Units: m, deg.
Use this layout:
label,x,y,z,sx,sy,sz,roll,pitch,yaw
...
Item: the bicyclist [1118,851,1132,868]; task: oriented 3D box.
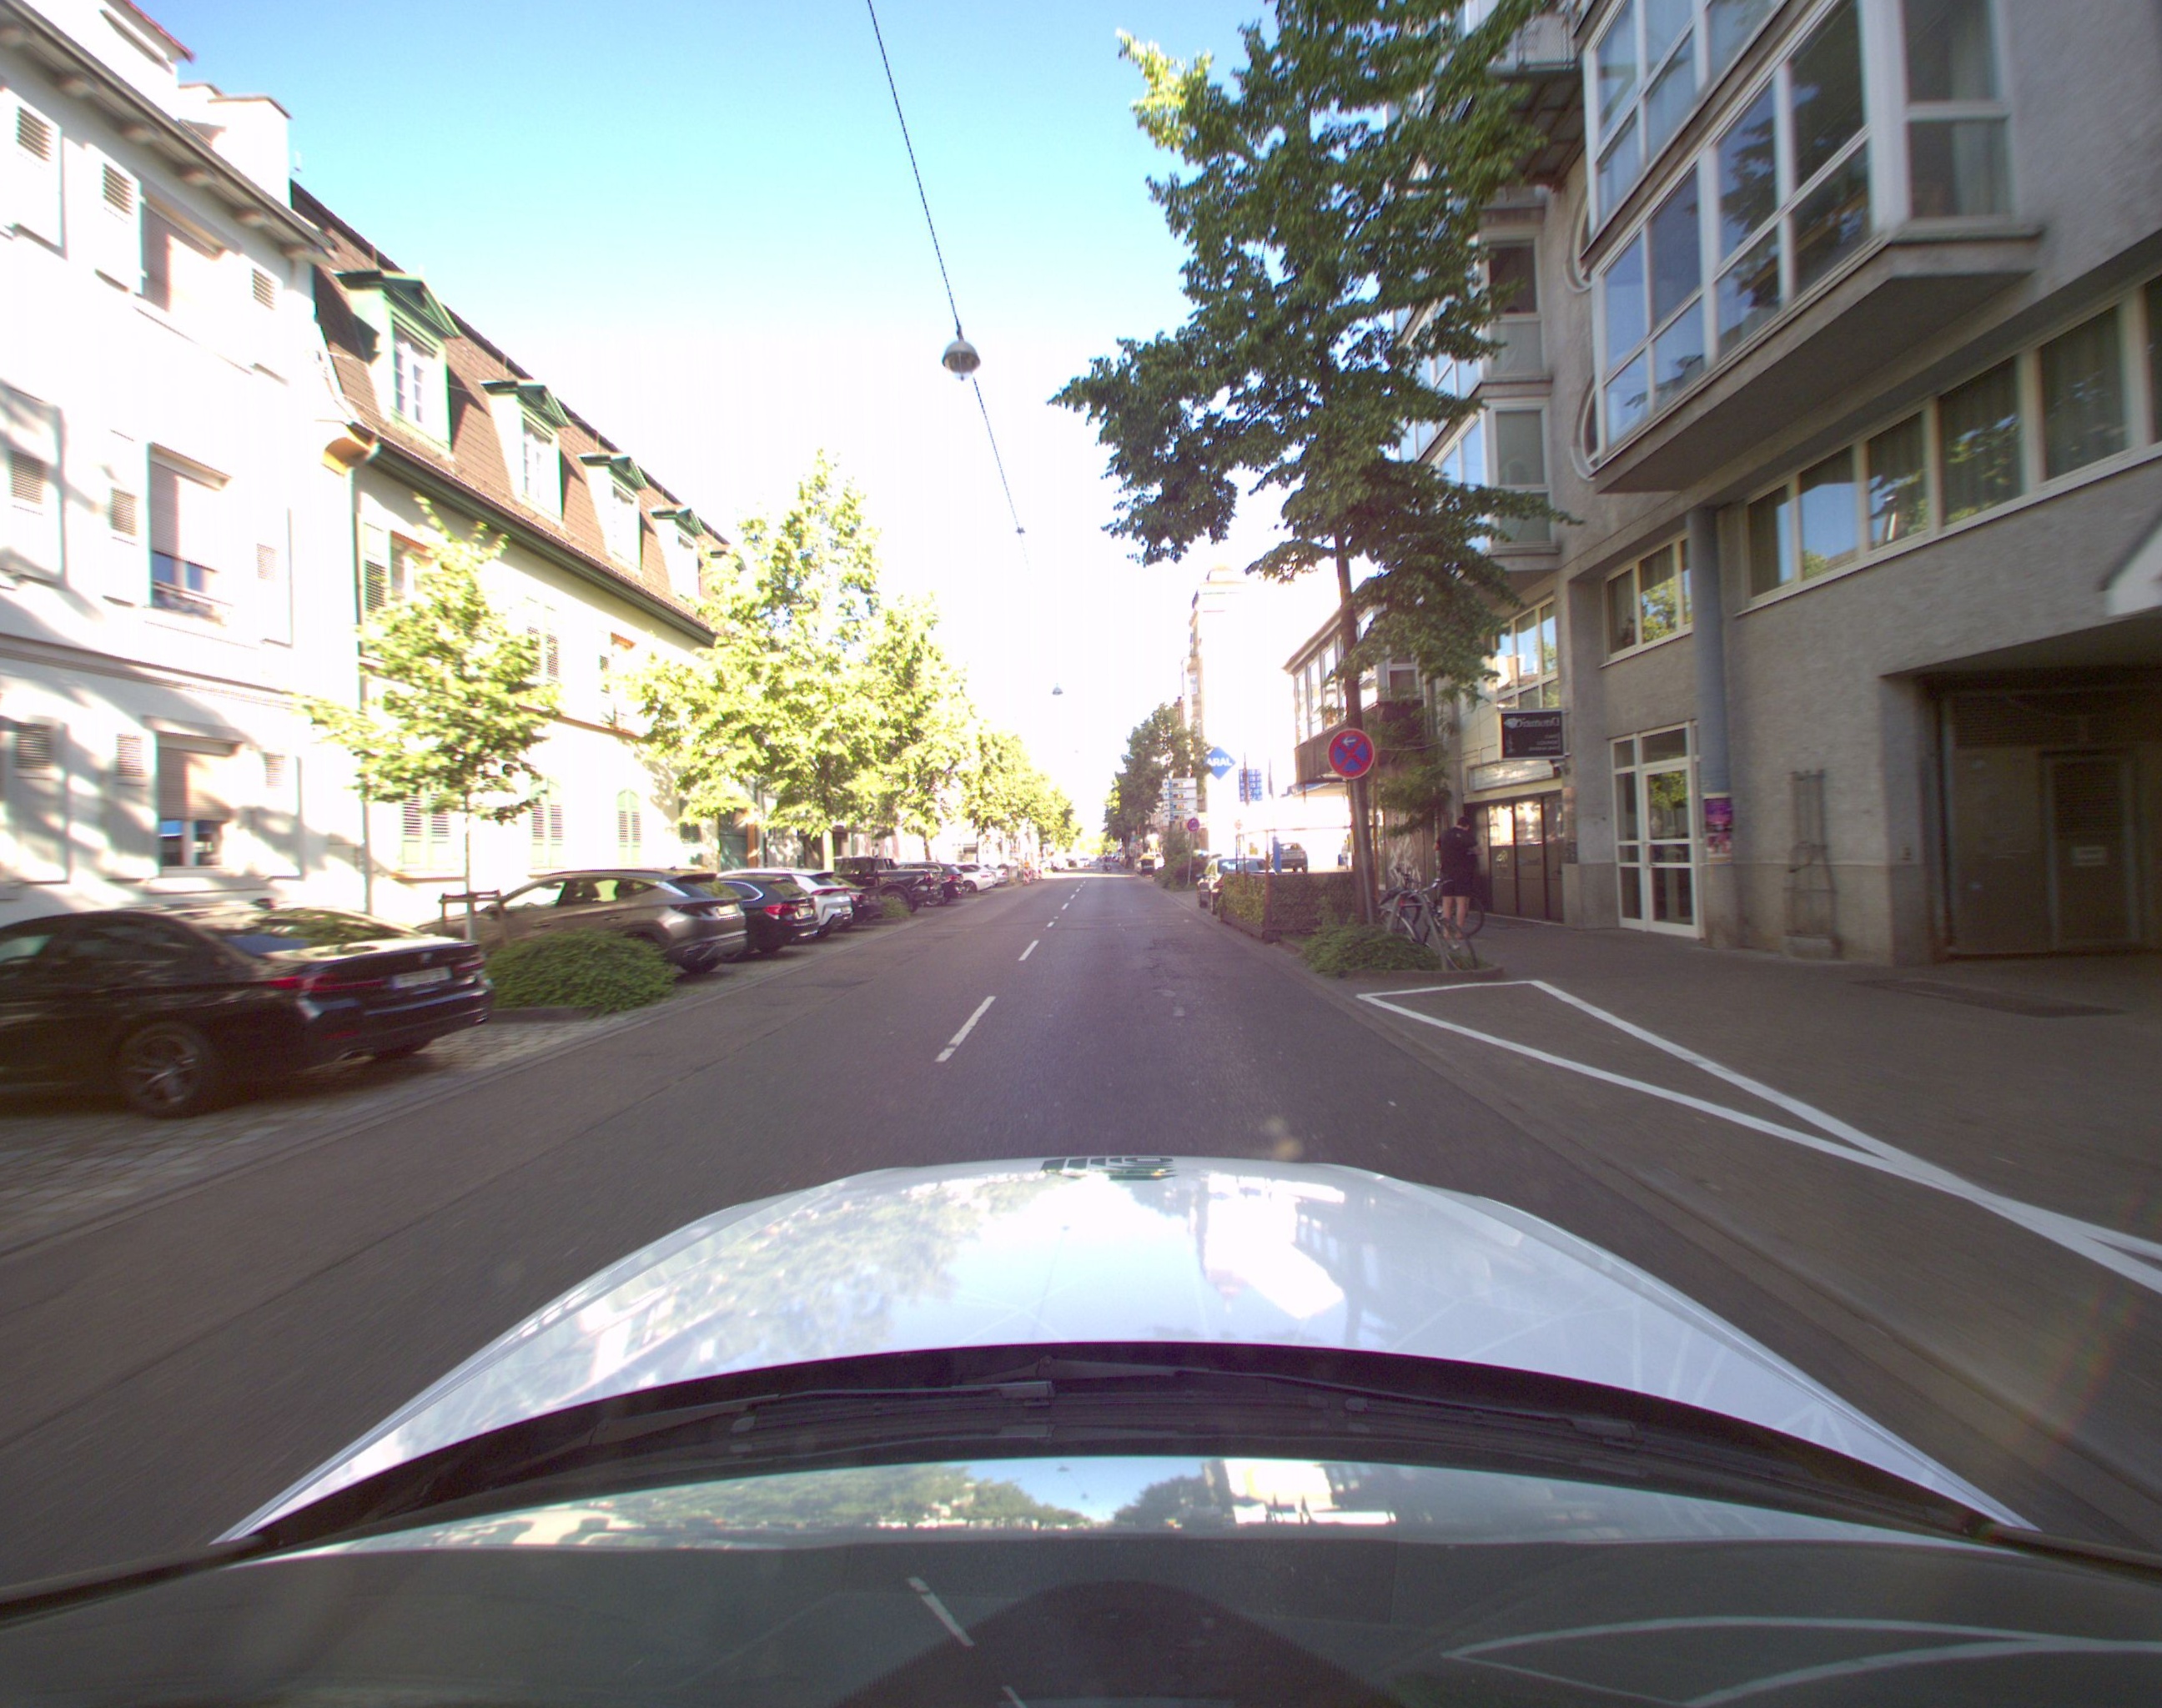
label,x,y,z,sx,sy,sz,roll,pitch,yaw
bicyclist,4.515,0.539,83.715,1.156,1.693,0.717,-2,0,-17

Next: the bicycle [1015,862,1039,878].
label,x,y,z,sx,sy,sz,roll,pitch,yaw
bicycle,-4.321,1.275,64.808,1.852,1.252,0.599,-1,0,-6

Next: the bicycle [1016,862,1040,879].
label,x,y,z,sx,sy,sz,roll,pitch,yaw
bicycle,-4.139,1.290,63.790,1.852,1.252,0.599,-1,0,-6

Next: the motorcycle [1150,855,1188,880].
label,x,y,z,sx,sy,sz,roll,pitch,yaw
motorcycle,5.071,0.771,47.195,1.978,1.330,0.908,-3,0,-11

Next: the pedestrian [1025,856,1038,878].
label,x,y,z,sx,sy,sz,roll,pitch,yaw
pedestrian,-3.912,1.046,64.464,0.797,1.707,0.759,-1,0,-32

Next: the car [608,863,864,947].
label,x,y,z,sx,sy,sz,roll,pitch,yaw
car,-7.282,1.053,17.471,4.661,1.572,1.809,-2,0,2

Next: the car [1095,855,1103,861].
label,x,y,z,sx,sy,sz,roll,pitch,yaw
car,4.226,0.923,194.615,1.816,1.391,4.301,-5,0,1

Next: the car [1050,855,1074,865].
label,x,y,z,sx,sy,sz,roll,pitch,yaw
car,-3.318,1.007,142.203,3.974,1.500,2.000,-3,0,0

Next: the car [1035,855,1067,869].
label,x,y,z,sx,sy,sz,roll,pitch,yaw
car,-3.966,1.022,108.661,3.967,1.694,2.003,-3,0,6

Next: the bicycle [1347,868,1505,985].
label,x,y,z,sx,sy,sz,roll,pitch,yaw
bicycle,3.950,0.774,9.536,0.607,1.120,2.050,-9,1,-7

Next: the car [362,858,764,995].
label,x,y,z,sx,sy,sz,roll,pitch,yaw
car,-7.325,0.981,11.820,4.661,1.712,1.809,-2,0,2

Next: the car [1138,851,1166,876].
label,x,y,z,sx,sy,sz,roll,pitch,yaw
car,5.358,0.679,61.850,1.815,1.679,4.603,-5,0,2

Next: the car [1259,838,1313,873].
label,x,y,z,sx,sy,sz,roll,pitch,yaw
car,10.651,0.072,42.637,1.893,1.648,4.297,-3,0,3

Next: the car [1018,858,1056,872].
label,x,y,z,sx,sy,sz,roll,pitch,yaw
car,-4.872,1.200,89.967,3.974,1.390,2.000,-3,0,0

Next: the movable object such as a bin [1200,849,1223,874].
label,x,y,z,sx,sy,sz,roll,pitch,yaw
movable object such as a bin,8.596,0.495,53.538,1.266,1.530,1.176,-3,0,0

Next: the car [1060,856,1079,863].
label,x,y,z,sx,sy,sz,roll,pitch,yaw
car,-2.387,1.194,176.394,3.974,1.500,2.000,-3,0,0

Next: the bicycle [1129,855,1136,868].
label,x,y,z,sx,sy,sz,roll,pitch,yaw
bicycle,5.964,0.815,93.701,0.559,1.441,1.629,-8,0,1

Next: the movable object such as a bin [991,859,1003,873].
label,x,y,z,sx,sy,sz,roll,pitch,yaw
movable object such as a bin,-9.050,1.264,87.607,1.136,1.485,1.235,-3,0,-1

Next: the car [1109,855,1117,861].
label,x,y,z,sx,sy,sz,roll,pitch,yaw
car,8.419,1.154,214.313,1.986,1.508,4.001,-2,-1,1

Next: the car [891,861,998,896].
label,x,y,z,sx,sy,sz,roll,pitch,yaw
car,-6.351,1.134,38.220,4.668,1.465,1.807,-2,0,-2

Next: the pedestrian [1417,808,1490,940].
label,x,y,z,sx,sy,sz,roll,pitch,yaw
pedestrian,5.742,0.305,12.548,0.916,1.935,0.765,-3,0,26

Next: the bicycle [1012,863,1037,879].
label,x,y,z,sx,sy,sz,roll,pitch,yaw
bicycle,-4.387,1.328,63.121,1.852,1.170,0.599,-1,0,-6

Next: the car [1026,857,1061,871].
label,x,y,z,sx,sy,sz,roll,pitch,yaw
car,-4.377,1.136,95.749,3.974,1.390,2.000,-3,0,0

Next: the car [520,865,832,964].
label,x,y,z,sx,sy,sz,roll,pitch,yaw
car,-7.118,1.043,14.633,4.661,1.519,1.809,-2,0,2

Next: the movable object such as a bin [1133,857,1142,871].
label,x,y,z,sx,sy,sz,roll,pitch,yaw
movable object such as a bin,5.240,0.950,75.494,0.703,1.222,0.680,-3,0,-1

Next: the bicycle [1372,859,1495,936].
label,x,y,z,sx,sy,sz,roll,pitch,yaw
bicycle,5.725,0.687,13.299,0.686,1.148,1.665,-2,0,-40

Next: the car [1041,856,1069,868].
label,x,y,z,sx,sy,sz,roll,pitch,yaw
car,-3.753,1.163,117.477,3.974,1.500,2.000,-3,0,0

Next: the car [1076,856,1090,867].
label,x,y,z,sx,sy,sz,roll,pitch,yaw
car,0.300,1.086,118.938,1.796,1.435,4.409,-5,0,1

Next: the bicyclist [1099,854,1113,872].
label,x,y,z,sx,sy,sz,roll,pitch,yaw
bicyclist,2.283,0.820,74.439,0.759,1.560,1.047,-3,0,44

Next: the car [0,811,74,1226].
label,x,y,z,sx,sy,sz,roll,pitch,yaw
car,-7.471,0.839,3.238,4.661,1.950,1.918,-2,-1,2

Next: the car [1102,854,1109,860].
label,x,y,z,sx,sy,sz,roll,pitch,yaw
car,6.721,0.734,221.049,1.786,1.411,4.001,-3,0,1

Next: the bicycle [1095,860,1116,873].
label,x,y,z,sx,sy,sz,roll,pitch,yaw
bicycle,2.276,1.143,74.439,0.759,1.059,1.967,-3,0,44

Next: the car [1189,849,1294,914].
label,x,y,z,sx,sy,sz,roll,pitch,yaw
car,4.130,0.665,21.736,1.894,1.412,4.648,-4,0,1

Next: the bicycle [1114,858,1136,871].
label,x,y,z,sx,sy,sz,roll,pitch,yaw
bicycle,4.532,1.108,83.709,2.034,1.220,0.717,-2,0,-17

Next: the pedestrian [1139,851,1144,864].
label,x,y,z,sx,sy,sz,roll,pitch,yaw
pedestrian,7.775,0.479,104.984,0.544,1.649,0.665,-3,0,2

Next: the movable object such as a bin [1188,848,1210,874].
label,x,y,z,sx,sy,sz,roll,pitch,yaw
movable object such as a bin,7.931,0.480,54.862,1.202,1.627,1.498,-3,0,0

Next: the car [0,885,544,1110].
label,x,y,z,sx,sy,sz,roll,pitch,yaw
car,-7.249,1.074,6.610,4.629,1.459,1.684,-2,0,1

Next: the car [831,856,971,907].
label,x,y,z,sx,sy,sz,roll,pitch,yaw
car,-6.595,1.003,30.169,4.661,1.693,1.809,-2,0,2

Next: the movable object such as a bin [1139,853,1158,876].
label,x,y,z,sx,sy,sz,roll,pitch,yaw
movable object such as a bin,4.756,0.735,57.541,1.135,1.562,1.463,-3,0,10

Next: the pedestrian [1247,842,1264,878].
label,x,y,z,sx,sy,sz,roll,pitch,yaw
pedestrian,9.245,0.318,43.127,0.703,1.850,0.689,-3,0,5

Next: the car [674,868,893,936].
label,x,y,z,sx,sy,sz,roll,pitch,yaw
car,-7.218,1.145,20.072,4.661,1.463,1.809,-2,0,2

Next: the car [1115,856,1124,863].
label,x,y,z,sx,sy,sz,roll,pitch,yaw
car,9.151,1.245,194.730,1.986,1.508,4.001,-2,-1,1

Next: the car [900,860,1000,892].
label,x,y,z,sx,sy,sz,roll,pitch,yaw
car,-6.495,1.079,40.824,4.668,1.465,1.807,-2,0,-2

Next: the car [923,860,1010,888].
label,x,y,z,sx,sy,sz,roll,pitch,yaw
car,-6.425,1.142,46.193,4.668,1.412,1.807,-2,0,-2

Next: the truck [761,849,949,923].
label,x,y,z,sx,sy,sz,roll,pitch,yaw
truck,-6.795,0.946,24.893,5.067,1.938,2.000,-3,0,0
